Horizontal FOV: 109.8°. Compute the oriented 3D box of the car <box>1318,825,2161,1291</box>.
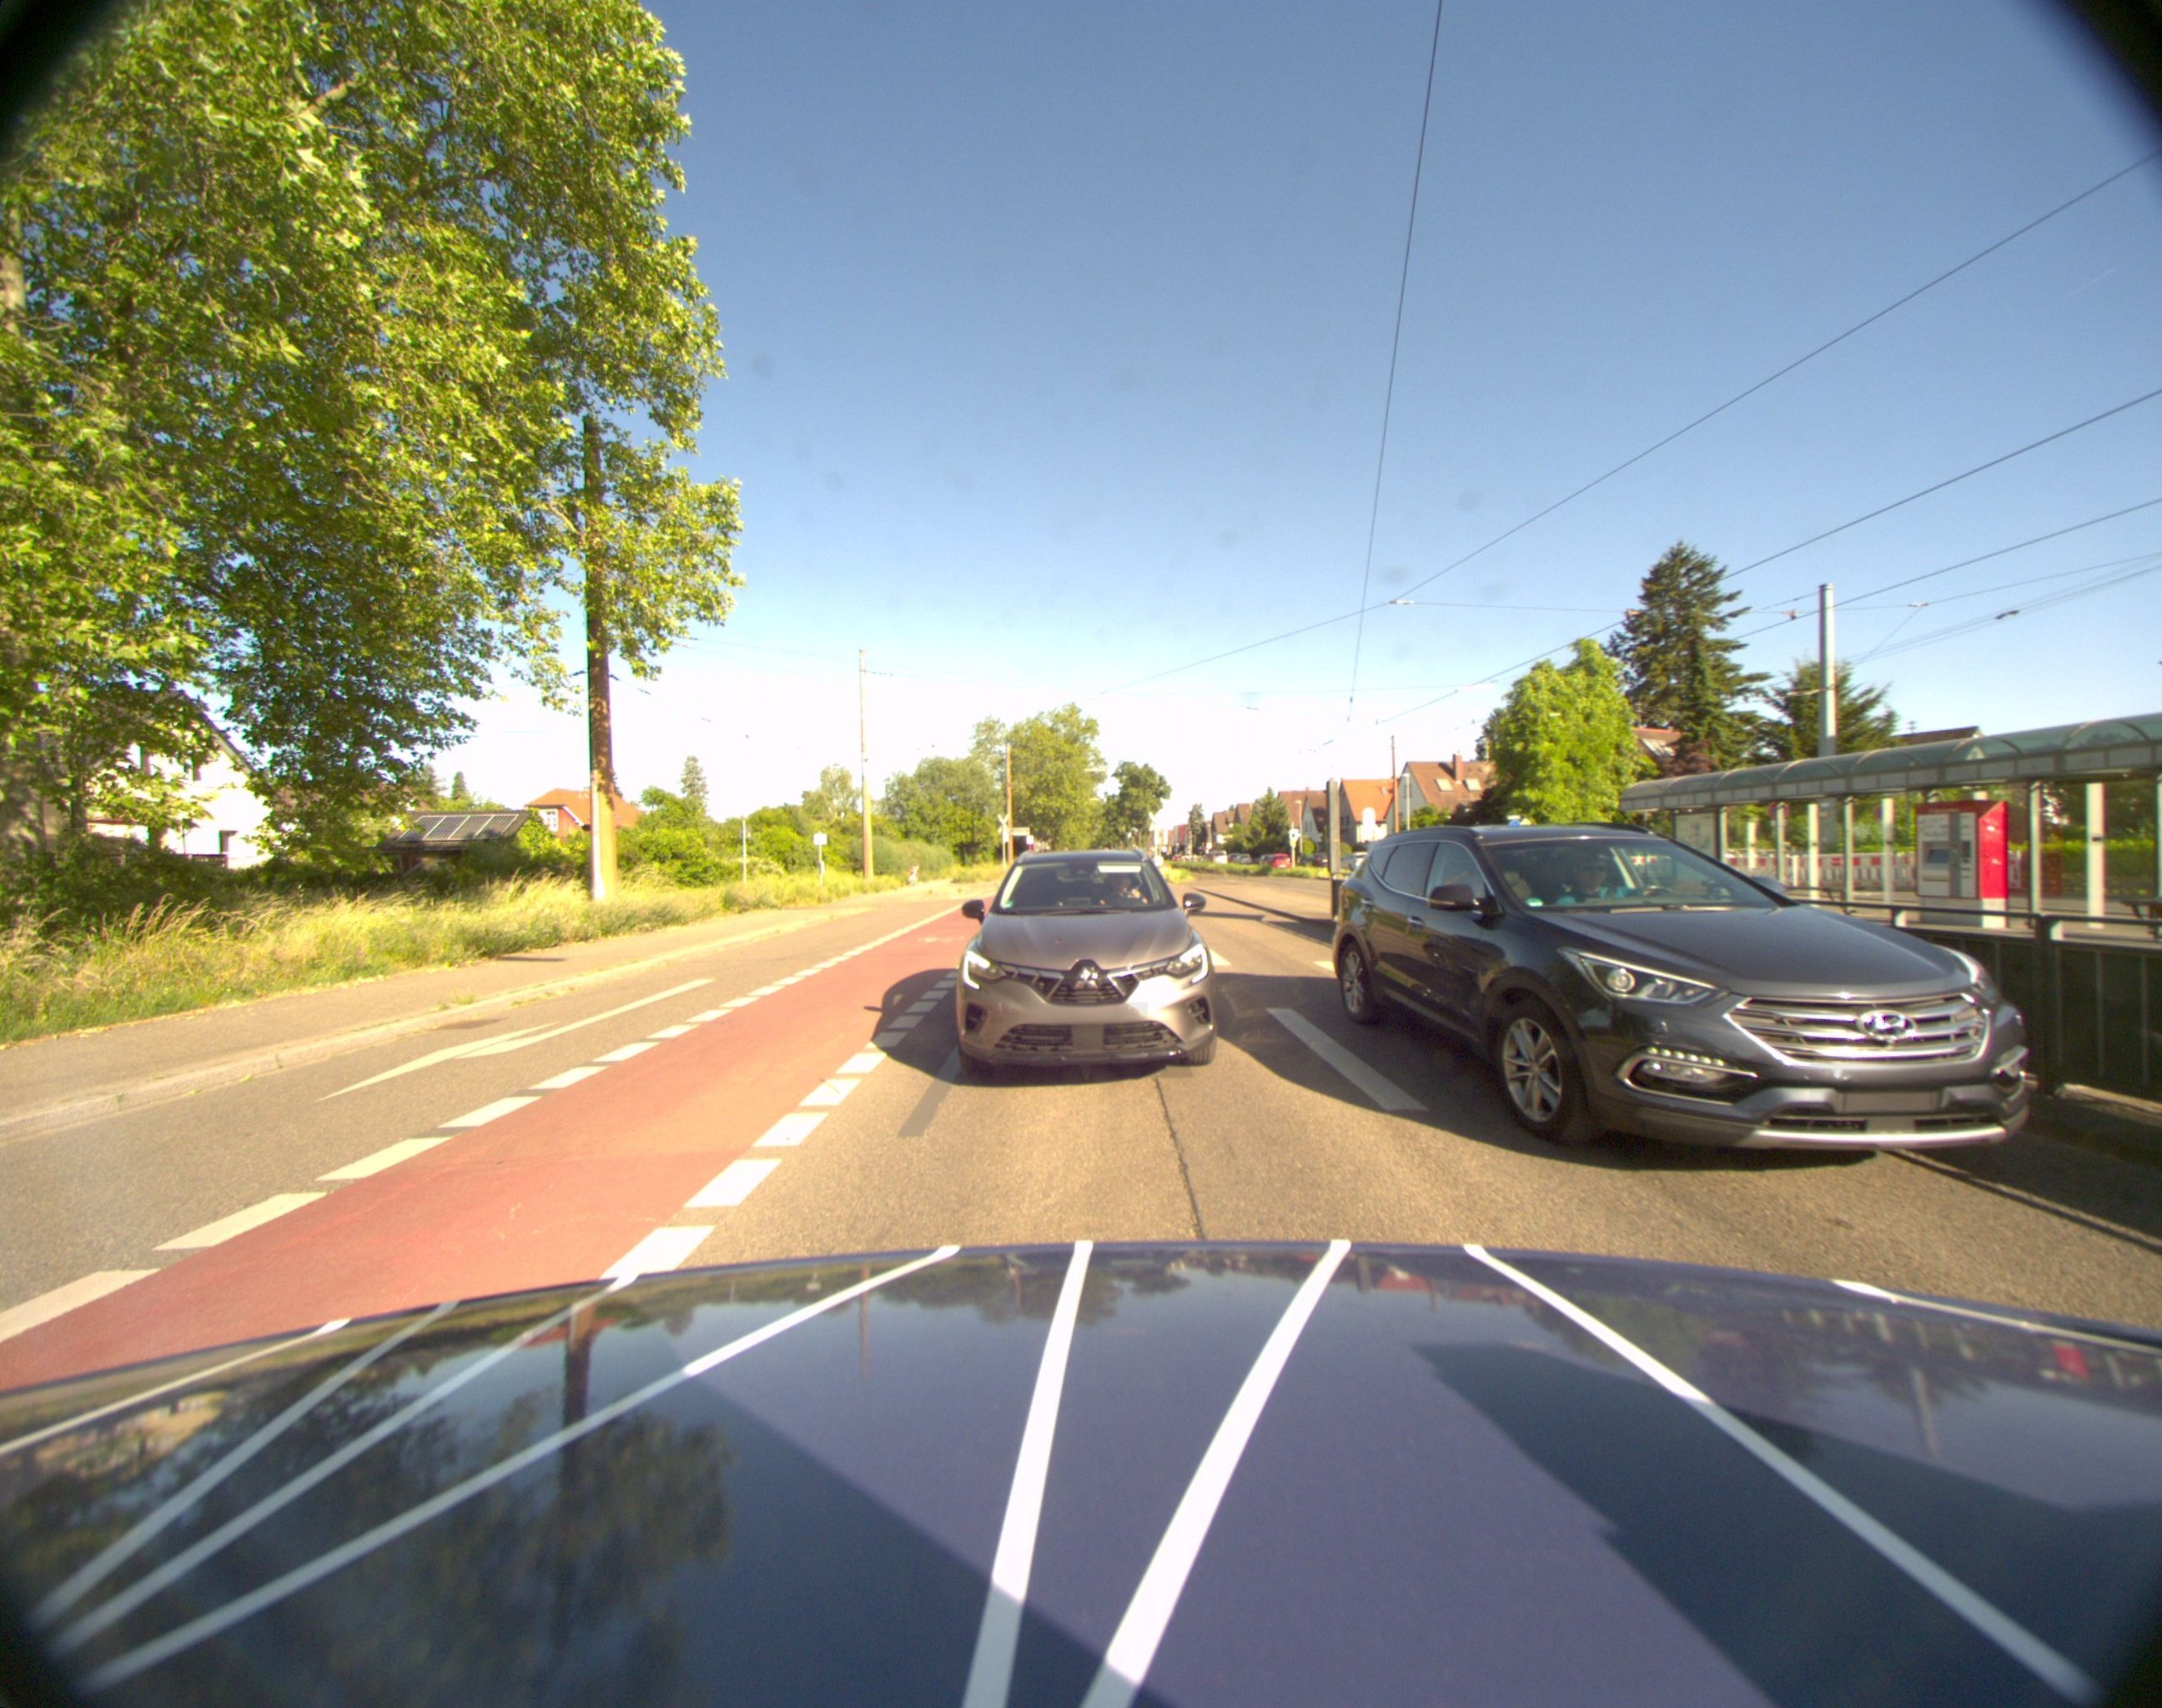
[{"bbox_3d":[3.189,0.751,4.947,1.886,1.686,4.300,-1,0,-1],"label":"car"}]

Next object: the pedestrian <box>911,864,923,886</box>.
[{"bbox_3d":[-8.003,1.016,37.152,0.482,1.027,0.454,-1,0,1],"label":"pedestrian"}]

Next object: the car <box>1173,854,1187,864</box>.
[{"bbox_3d":[17.227,0.792,132.273,1.998,1.652,4.000,-1,0,1],"label":"car"}]

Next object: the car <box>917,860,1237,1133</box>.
[{"bbox_3d":[0.002,0.853,6.345,1.839,1.541,3.816,-1,0,1],"label":"car"}]

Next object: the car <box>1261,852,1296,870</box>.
[{"bbox_3d":[16.855,0.552,65.075,1.998,1.455,4.000,-1,0,1],"label":"car"}]

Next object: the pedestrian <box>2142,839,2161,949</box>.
[{"bbox_3d":[14.092,0.507,9.515,0.623,1.406,0.711,-1,0,-1],"label":"pedestrian"}]

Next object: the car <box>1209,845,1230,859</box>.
[{"bbox_3d":[17.278,-0.229,94.956,1.998,1.761,4.000,-1,0,1],"label":"car"}]
